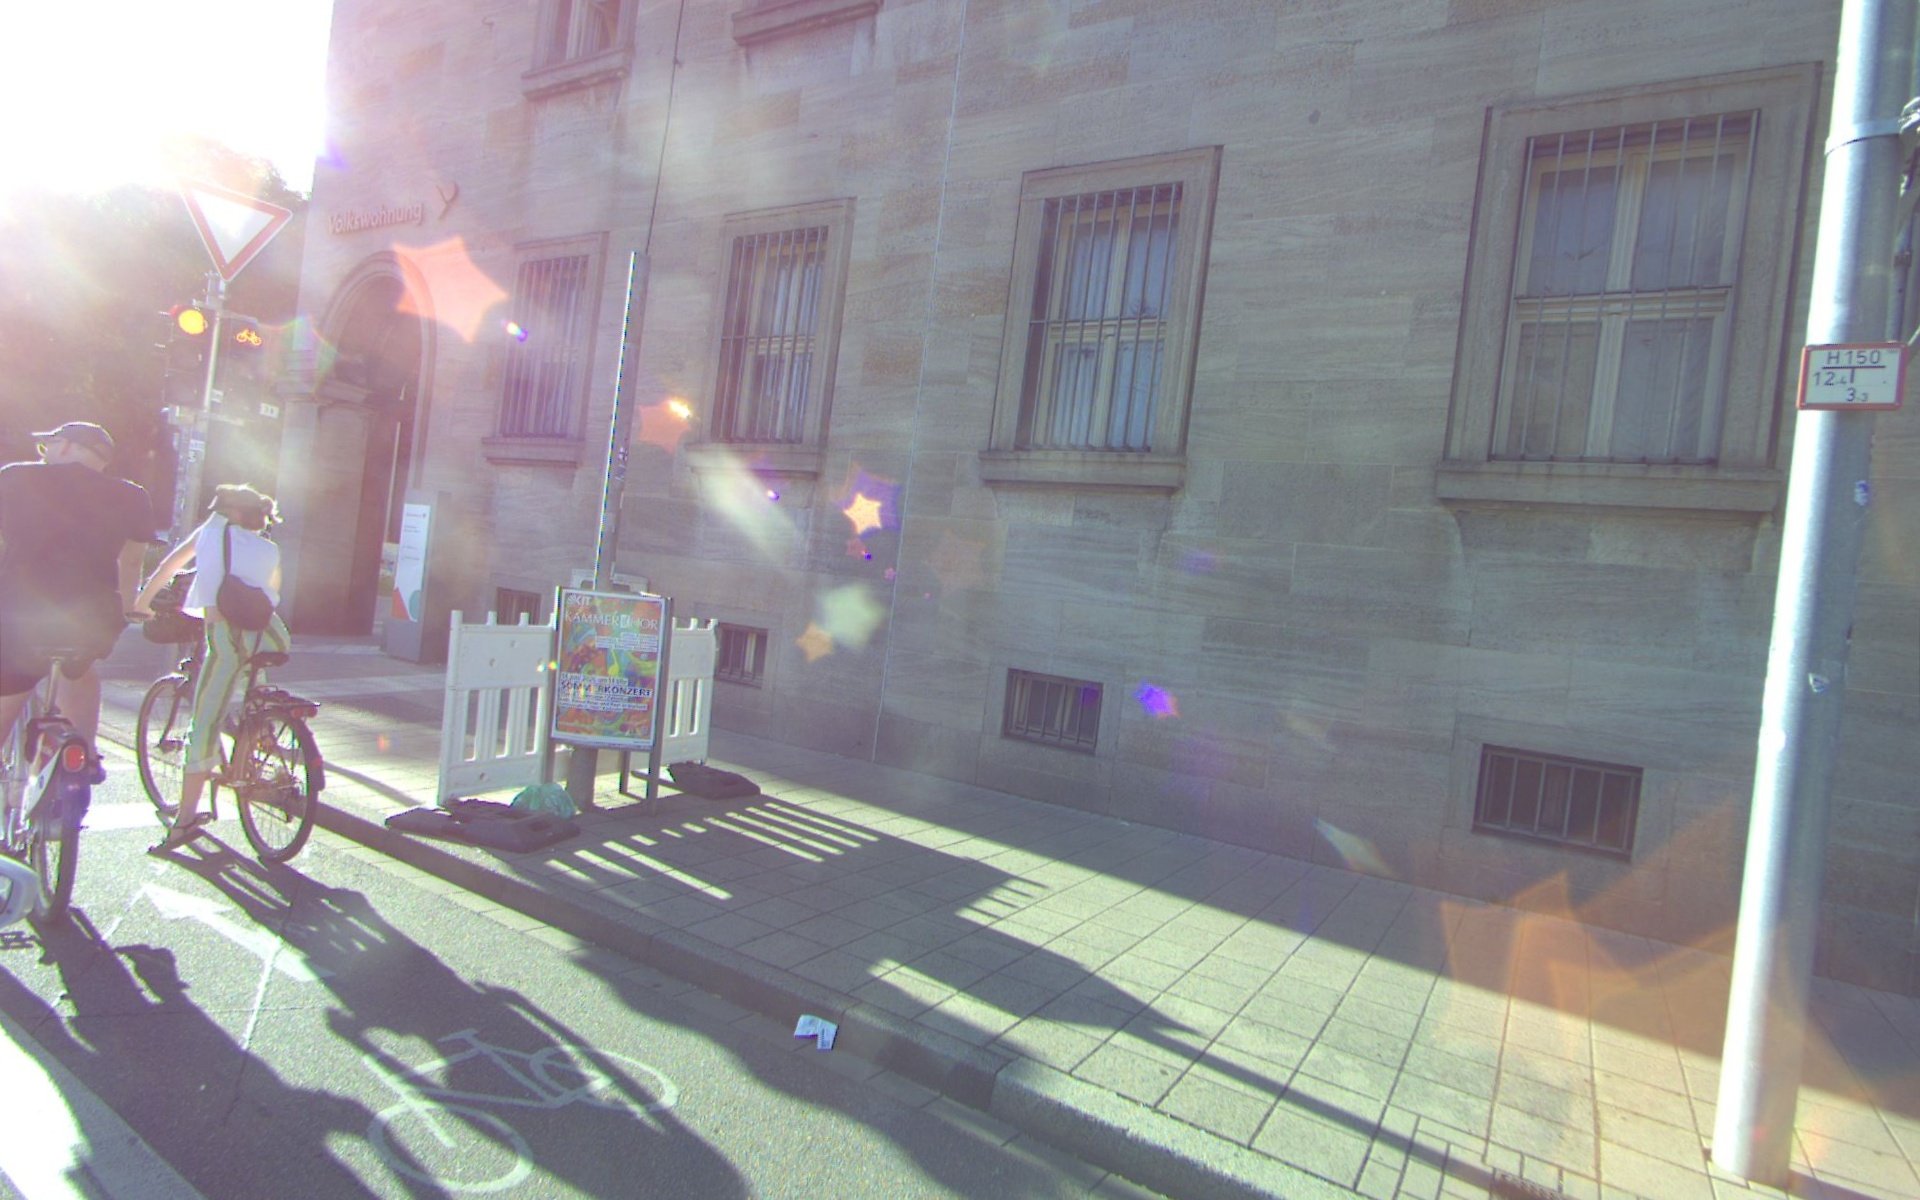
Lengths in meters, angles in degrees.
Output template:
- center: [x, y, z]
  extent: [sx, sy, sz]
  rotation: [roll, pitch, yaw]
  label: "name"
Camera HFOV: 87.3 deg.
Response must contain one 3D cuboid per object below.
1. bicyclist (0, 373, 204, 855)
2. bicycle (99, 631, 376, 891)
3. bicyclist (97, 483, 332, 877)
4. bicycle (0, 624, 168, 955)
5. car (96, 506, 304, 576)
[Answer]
- center: [-3.502, 0.052, 3.889]
  extent: [0.647, 1.698, 0.669]
  rotation: [7, 1, 41]
  label: "bicyclist"
- center: [-3.615, 0.713, 4.962]
  extent: [1.920, 0.887, 0.427]
  rotation: [7, 0, 35]
  label: "bicycle"
- center: [-3.577, 0.341, 4.822]
  extent: [0.845, 1.700, 0.522]
  rotation: [7, 1, 35]
  label: "bicyclist"
- center: [-3.734, 0.653, 4.082]
  extent: [1.923, 0.916, 0.388]
  rotation: [7, 0, 41]
  label: "bicycle"
- center: [-22.031, -1.680, 29.334]
  extent: [1.748, 1.345, 4.446]
  rotation: [7, -1, 34]
  label: "car"
